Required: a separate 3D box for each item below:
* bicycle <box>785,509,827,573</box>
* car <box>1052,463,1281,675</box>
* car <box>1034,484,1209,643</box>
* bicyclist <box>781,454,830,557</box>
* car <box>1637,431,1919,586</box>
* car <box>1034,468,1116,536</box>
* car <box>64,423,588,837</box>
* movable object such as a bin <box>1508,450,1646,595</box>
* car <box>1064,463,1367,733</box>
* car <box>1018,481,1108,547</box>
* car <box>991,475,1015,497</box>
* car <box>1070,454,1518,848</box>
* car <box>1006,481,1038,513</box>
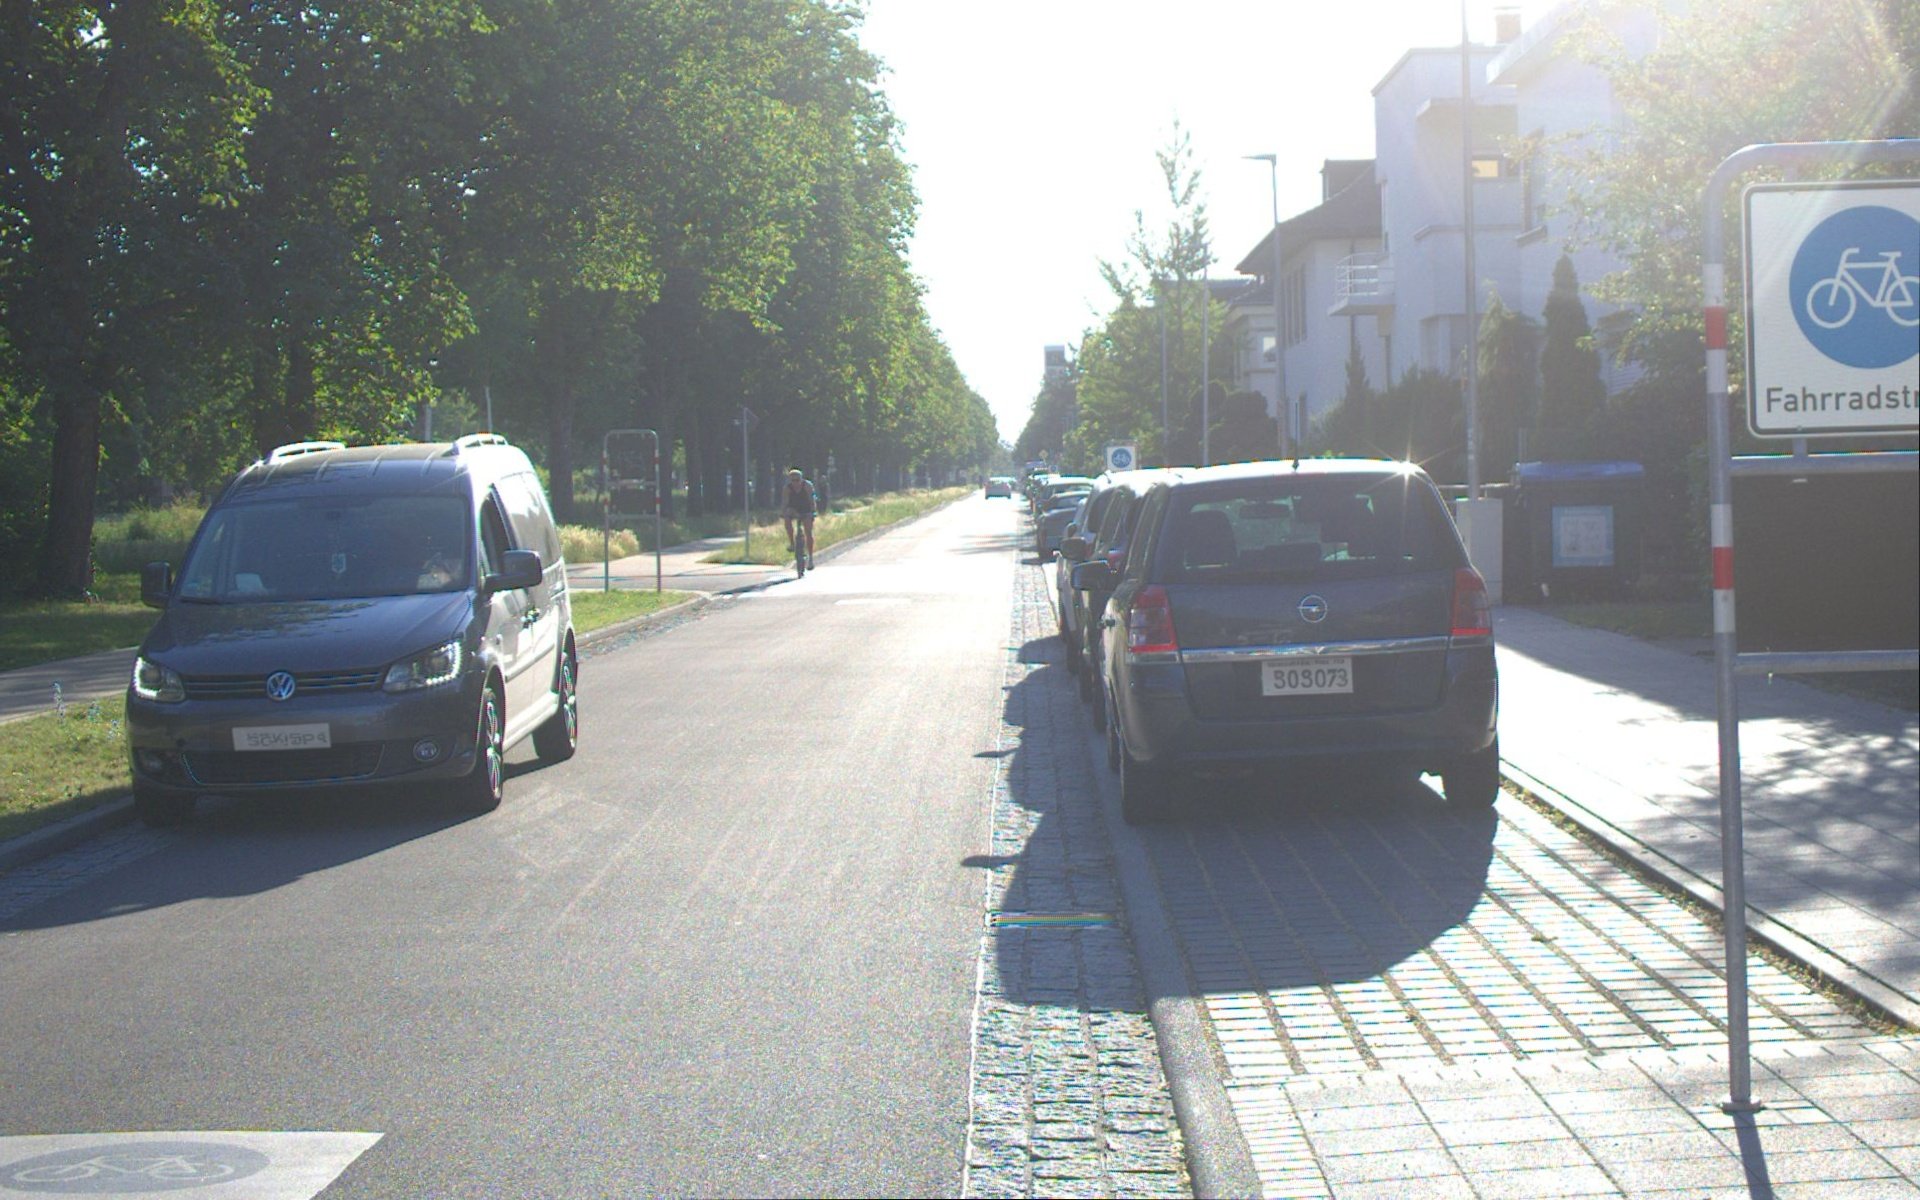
[{"bbox_3d":[-2.536,-0.988,56.886,0.556,1.028,1.915,-2,2,1],"label":"bicycle"},{"bbox_3d":[1.653,-0.315,28.225,1.679,1.550,4.130,-2,2,2],"label":"car"},{"bbox_3d":[1.546,-0.407,33.931,1.564,1.385,4.374,-2,2,2],"label":"car"},{"bbox_3d":[-2.552,-1.555,56.808,0.681,1.667,1.172,-2,1,1],"label":"bicyclist"},{"bbox_3d":[9.249,-1.014,37.746,3.494,1.636,1.643,0,2,9],"label":"car"},{"bbox_3d":[2.709,-2.346,81.630,1.744,1.469,3.923,-4,2,0],"label":"car"},{"bbox_3d":[-3.183,0.073,18.209,1.844,1.841,4.573,-2,2,0],"label":"car"},{"bbox_3d":[6.221,-0.791,34.718,1.237,1.427,1.123,0,2,3],"label":"movable object such as a bin"},{"bbox_3d":[1.598,-0.088,22.724,1.679,1.550,4.145,-2,2,1],"label":"car"},{"bbox_3d":[2.107,-1.785,70.603,1.774,1.284,4.273,0,2,2],"label":"car"},{"bbox_3d":[2.996,-7.981,240.287,1.652,1.536,3.267,0,2,1],"label":"car"},{"bbox_3d":[1.503,0.135,16.851,1.710,1.605,4.169,-3,2,0],"label":"car"},{"bbox_3d":[3.056,-5.075,169.147,1.498,1.561,3.267,-1,2,2],"label":"car"}]
